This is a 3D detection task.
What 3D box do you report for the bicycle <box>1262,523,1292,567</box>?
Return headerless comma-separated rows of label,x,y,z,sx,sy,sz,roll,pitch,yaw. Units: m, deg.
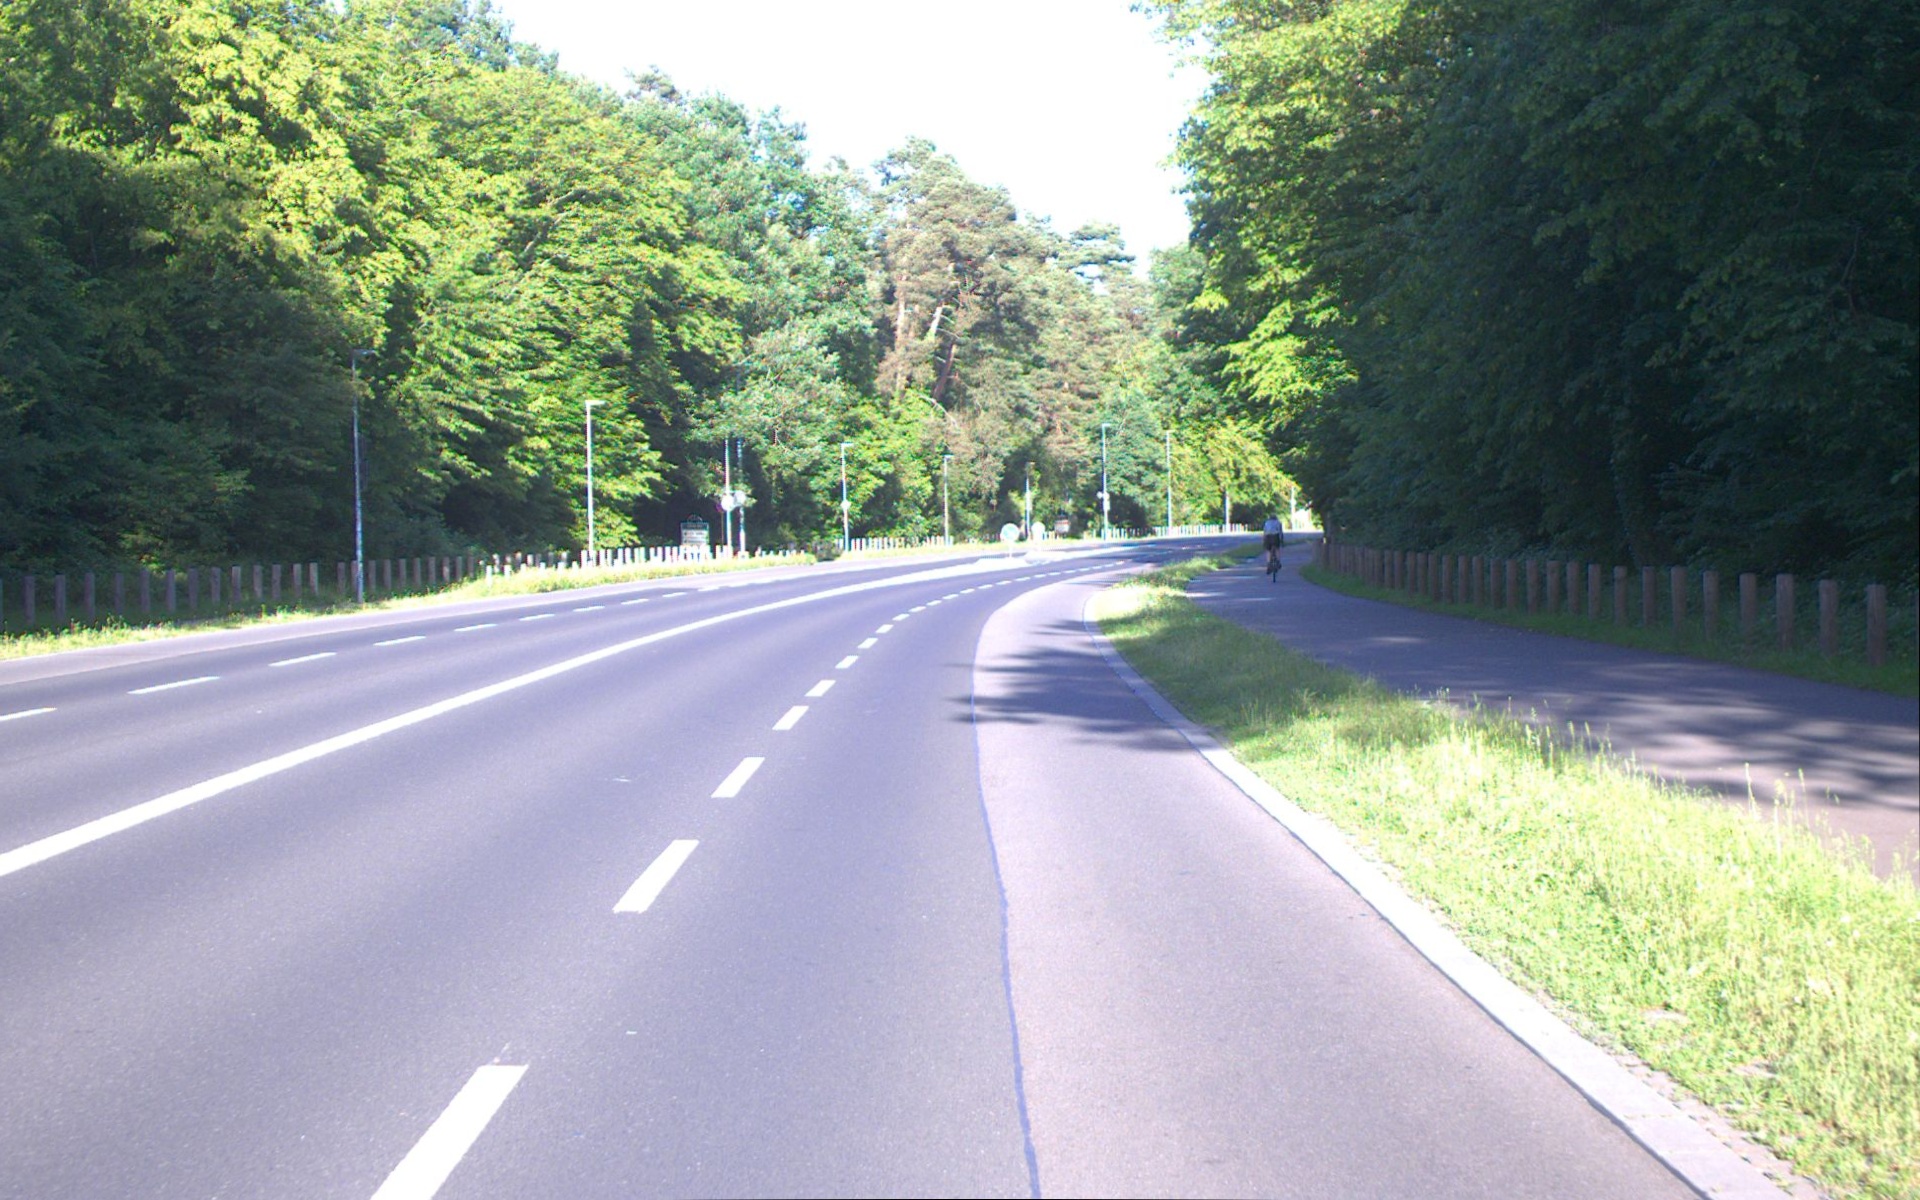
bicycle,7.827,-1.357,84.857,0.712,1.052,2.052,0,1,6
